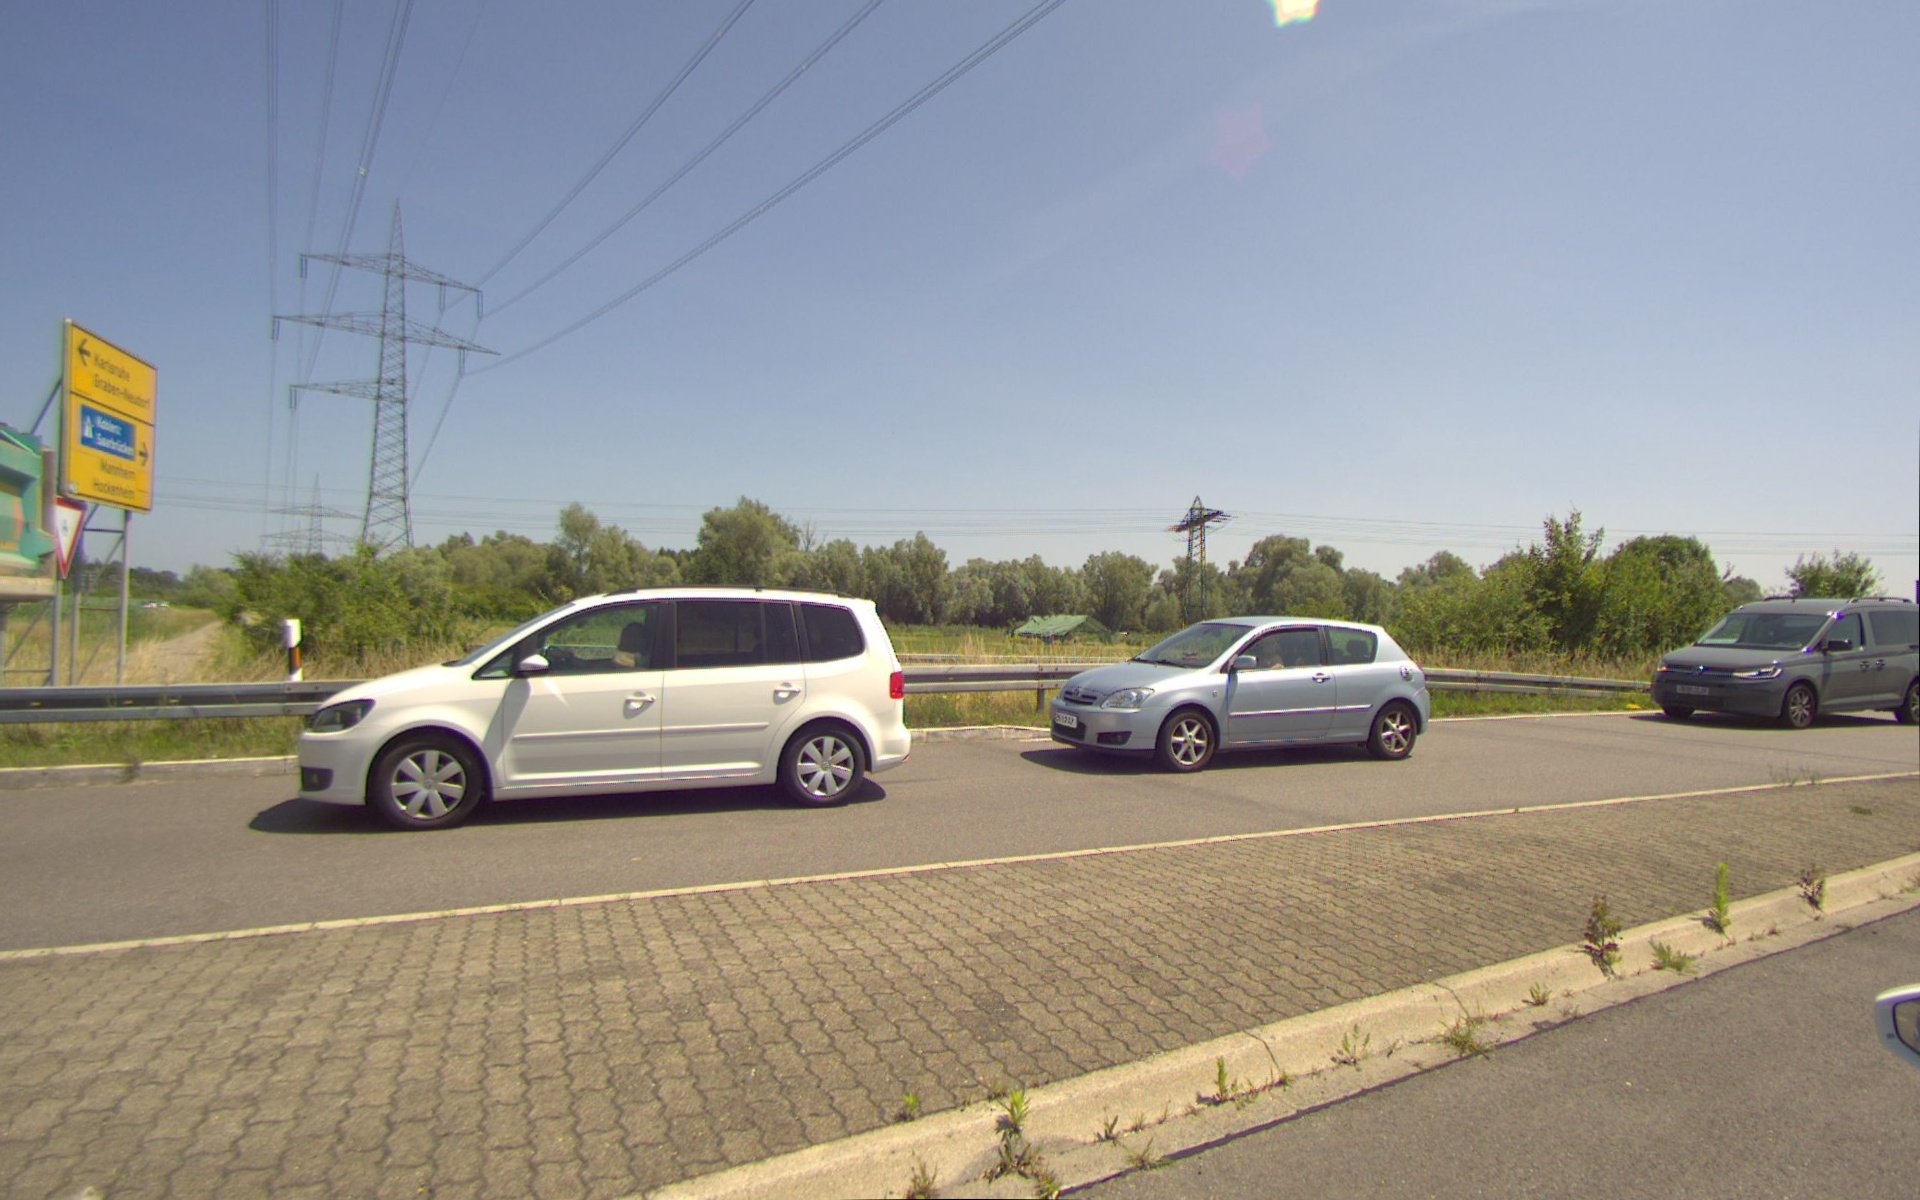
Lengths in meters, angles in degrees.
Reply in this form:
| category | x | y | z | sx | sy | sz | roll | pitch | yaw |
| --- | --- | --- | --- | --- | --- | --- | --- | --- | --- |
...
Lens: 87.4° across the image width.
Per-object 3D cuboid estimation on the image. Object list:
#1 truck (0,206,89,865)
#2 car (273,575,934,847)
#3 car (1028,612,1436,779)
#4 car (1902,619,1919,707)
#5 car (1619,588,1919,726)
| category | x | y | z | sx | sy | sz | roll | pitch | yaw |
| --- | --- | --- | --- | --- | --- | --- | --- | --- | --- |
| truck | -8.561 | -0.386 | 3.791 | 7.520 | 3.517 | 2.589 | 1 | -1 | -30 |
| car | -2.505 | 0.681 | 7.714 | 4.268 | 1.642 | 1.768 | 1 | 1 | -23 |
| car | 2.842 | 0.886 | 10.471 | 3.950 | 1.479 | 1.628 | 1 | 0 | -23 |
| car | 18.974 | 1.136 | 17.559 | 4.322 | 1.536 | 1.797 | 1 | 1 | -18 |
| car | 12.428 | 0.846 | 15.083 | 4.368 | 1.856 | 1.925 | 2 | -1 | -18 |
